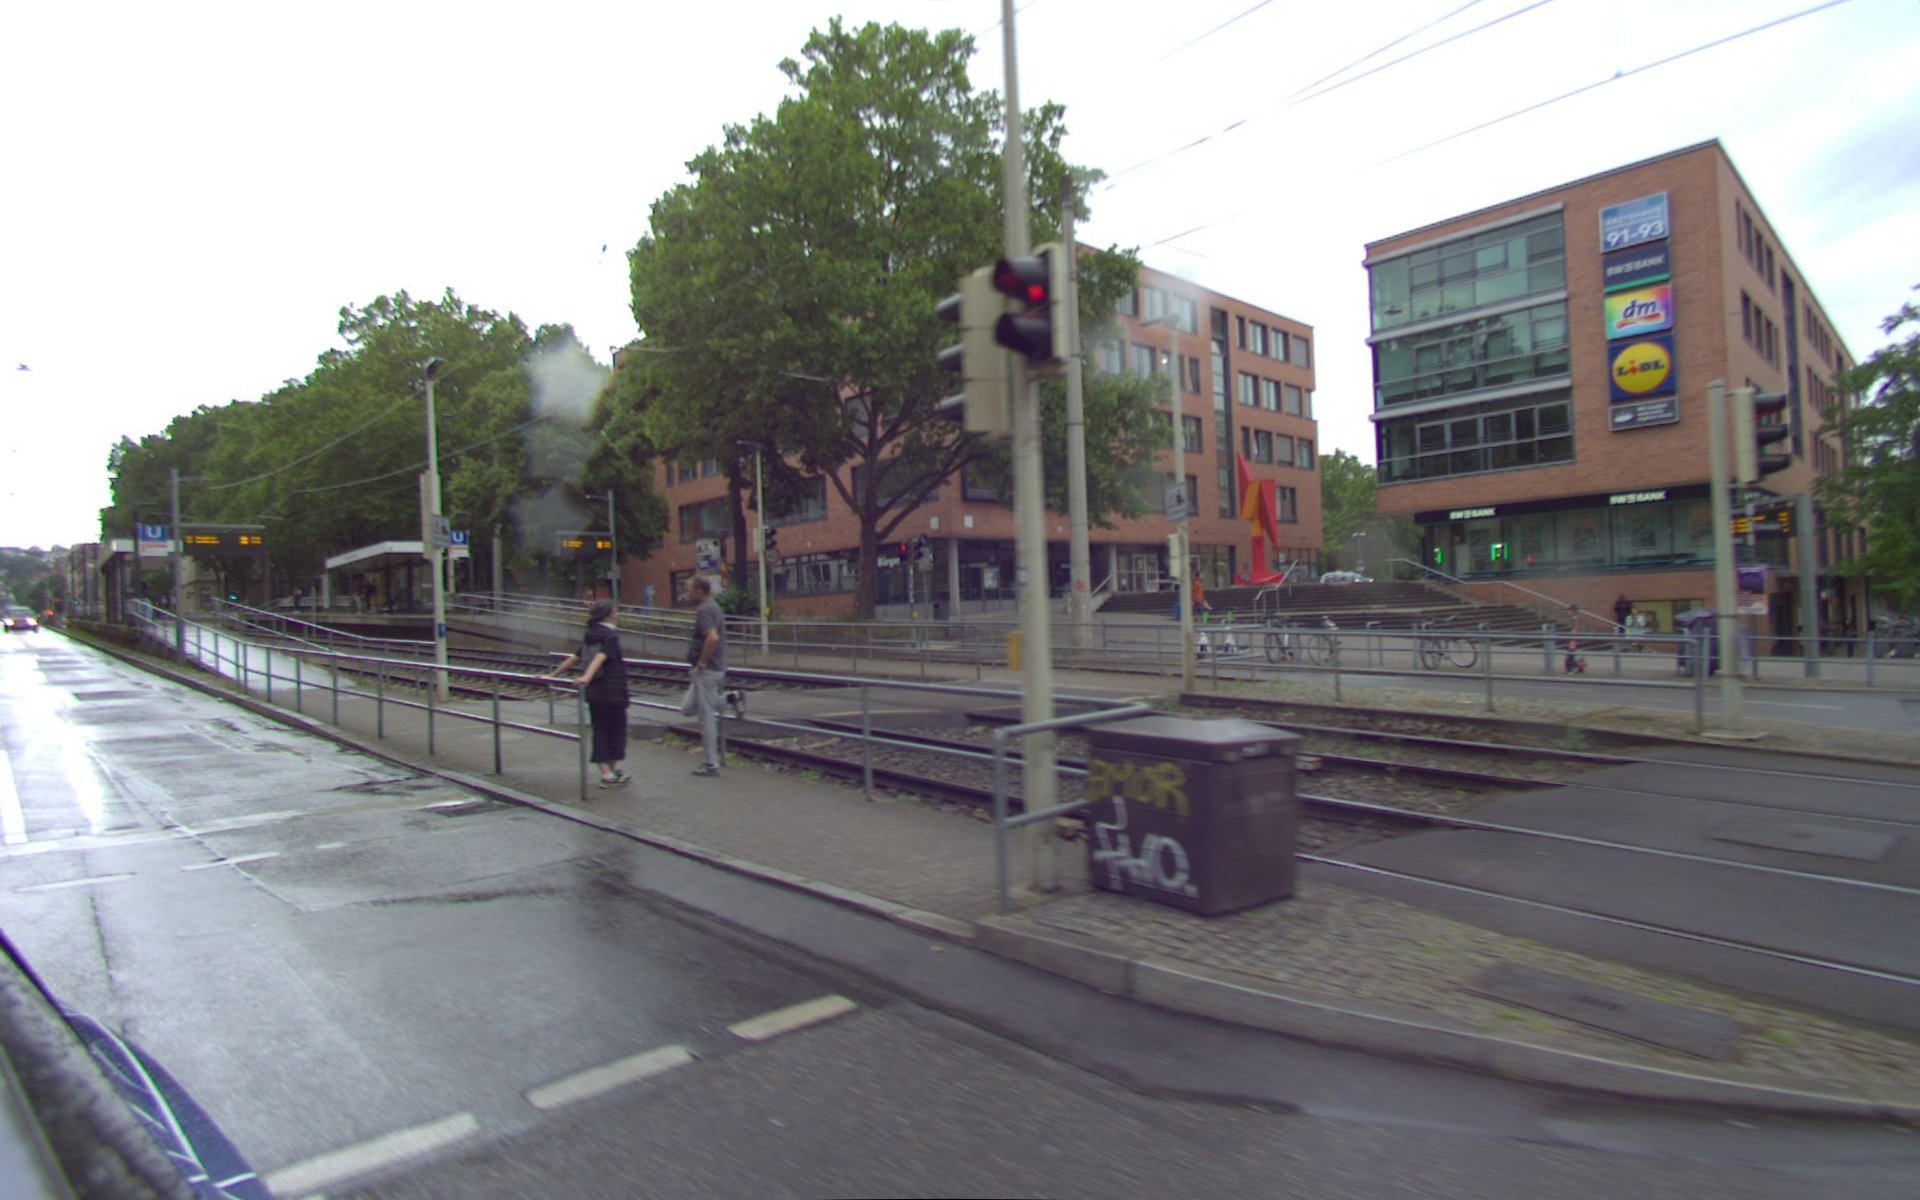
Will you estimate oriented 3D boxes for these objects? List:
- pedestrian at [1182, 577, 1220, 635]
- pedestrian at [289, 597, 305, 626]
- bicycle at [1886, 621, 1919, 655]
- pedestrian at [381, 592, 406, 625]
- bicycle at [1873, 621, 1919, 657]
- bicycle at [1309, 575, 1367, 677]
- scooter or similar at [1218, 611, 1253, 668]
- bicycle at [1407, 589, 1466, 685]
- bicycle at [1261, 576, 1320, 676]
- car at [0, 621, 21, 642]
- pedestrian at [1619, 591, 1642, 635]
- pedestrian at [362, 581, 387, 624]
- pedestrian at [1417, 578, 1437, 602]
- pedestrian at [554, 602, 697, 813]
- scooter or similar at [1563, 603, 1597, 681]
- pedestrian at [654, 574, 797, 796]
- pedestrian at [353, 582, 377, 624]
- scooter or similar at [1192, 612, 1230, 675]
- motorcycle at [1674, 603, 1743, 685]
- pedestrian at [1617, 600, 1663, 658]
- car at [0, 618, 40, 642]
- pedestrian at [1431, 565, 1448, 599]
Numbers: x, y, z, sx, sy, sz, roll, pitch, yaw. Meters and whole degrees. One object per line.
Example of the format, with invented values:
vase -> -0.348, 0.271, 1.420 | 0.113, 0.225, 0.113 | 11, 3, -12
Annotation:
pedestrian -> 7.617, 0.165, 32.048 | 0.780, 1.757, 1.072 | 0, 3, -10
pedestrian -> -40.615, 0.716, 62.001 | 0.667, 1.804, 0.704 | 1, -2, -43
bicycle -> 31.669, 1.230, 32.784 | 0.839, 1.109, 2.371 | -1, -1, -41
pedestrian -> -26.215, 0.392, 46.797 | 0.884, 1.494, 0.771 | -1, -1, 42
bicycle -> 30.669, 1.238, 32.190 | 2.365, 1.109, 0.691 | -1, -1, 39
bicycle -> 7.822, 0.504, 20.889 | 0.518, 2.029, 1.872 | -1, 0, 39
scooter or similar -> 6.166, 0.860, 22.603 | 0.476, 1.203, 1.704 | -1, -1, 25
bicycle -> 9.292, 0.669, 19.678 | 0.556, 1.710, 2.070 | 1, 2, 39
bicycle -> 7.044, 0.515, 21.516 | 0.518, 2.029, 1.872 | -1, 0, 39
car -> -71.943, 2.356, 76.061 | 1.857, 1.458, 4.003 | 0, 0, -44
pedestrian -> 24.479, 0.464, 36.924 | 0.592, 1.578, 0.512 | -1, 0, 44
pedestrian -> -28.628, 0.114, 49.487 | 0.884, 2.078, 0.826 | -1, -1, 42
pedestrian -> 30.106, -0.653, 65.221 | 0.841, 1.542, 0.731 | 0, -1, -18
pedestrian -> -2.790, 0.832, 8.412 | 0.824, 1.617, 1.003 | 0, -1, -40
scooter or similar -> 11.544, 0.753, 18.858 | 0.451, 1.381, 1.492 | -1, 0, 29
pedestrian -> -2.070, 0.698, 8.898 | 1.002, 1.812, 0.816 | -1, -1, 44
pedestrian -> -29.603, 0.139, 50.327 | 0.884, 2.078, 0.826 | -1, -1, 42
scooter or similar -> 5.743, 0.974, 23.135 | 0.451, 1.381, 1.492 | -1, 0, 29
motorcycle -> 13.582, 0.752, 18.332 | 0.865, 1.381, 2.624 | -1, -1, 39
pedestrian -> 21.062, 0.881, 31.343 | 0.886, 1.743, 1.010 | 0, -1, -44
car -> -60.332, 1.888, 64.889 | 1.857, 1.458, 4.003 | 0, 0, -44
pedestrian -> 25.063, -0.945, 52.881 | 0.726, 1.743, 0.641 | -1, -1, 34
